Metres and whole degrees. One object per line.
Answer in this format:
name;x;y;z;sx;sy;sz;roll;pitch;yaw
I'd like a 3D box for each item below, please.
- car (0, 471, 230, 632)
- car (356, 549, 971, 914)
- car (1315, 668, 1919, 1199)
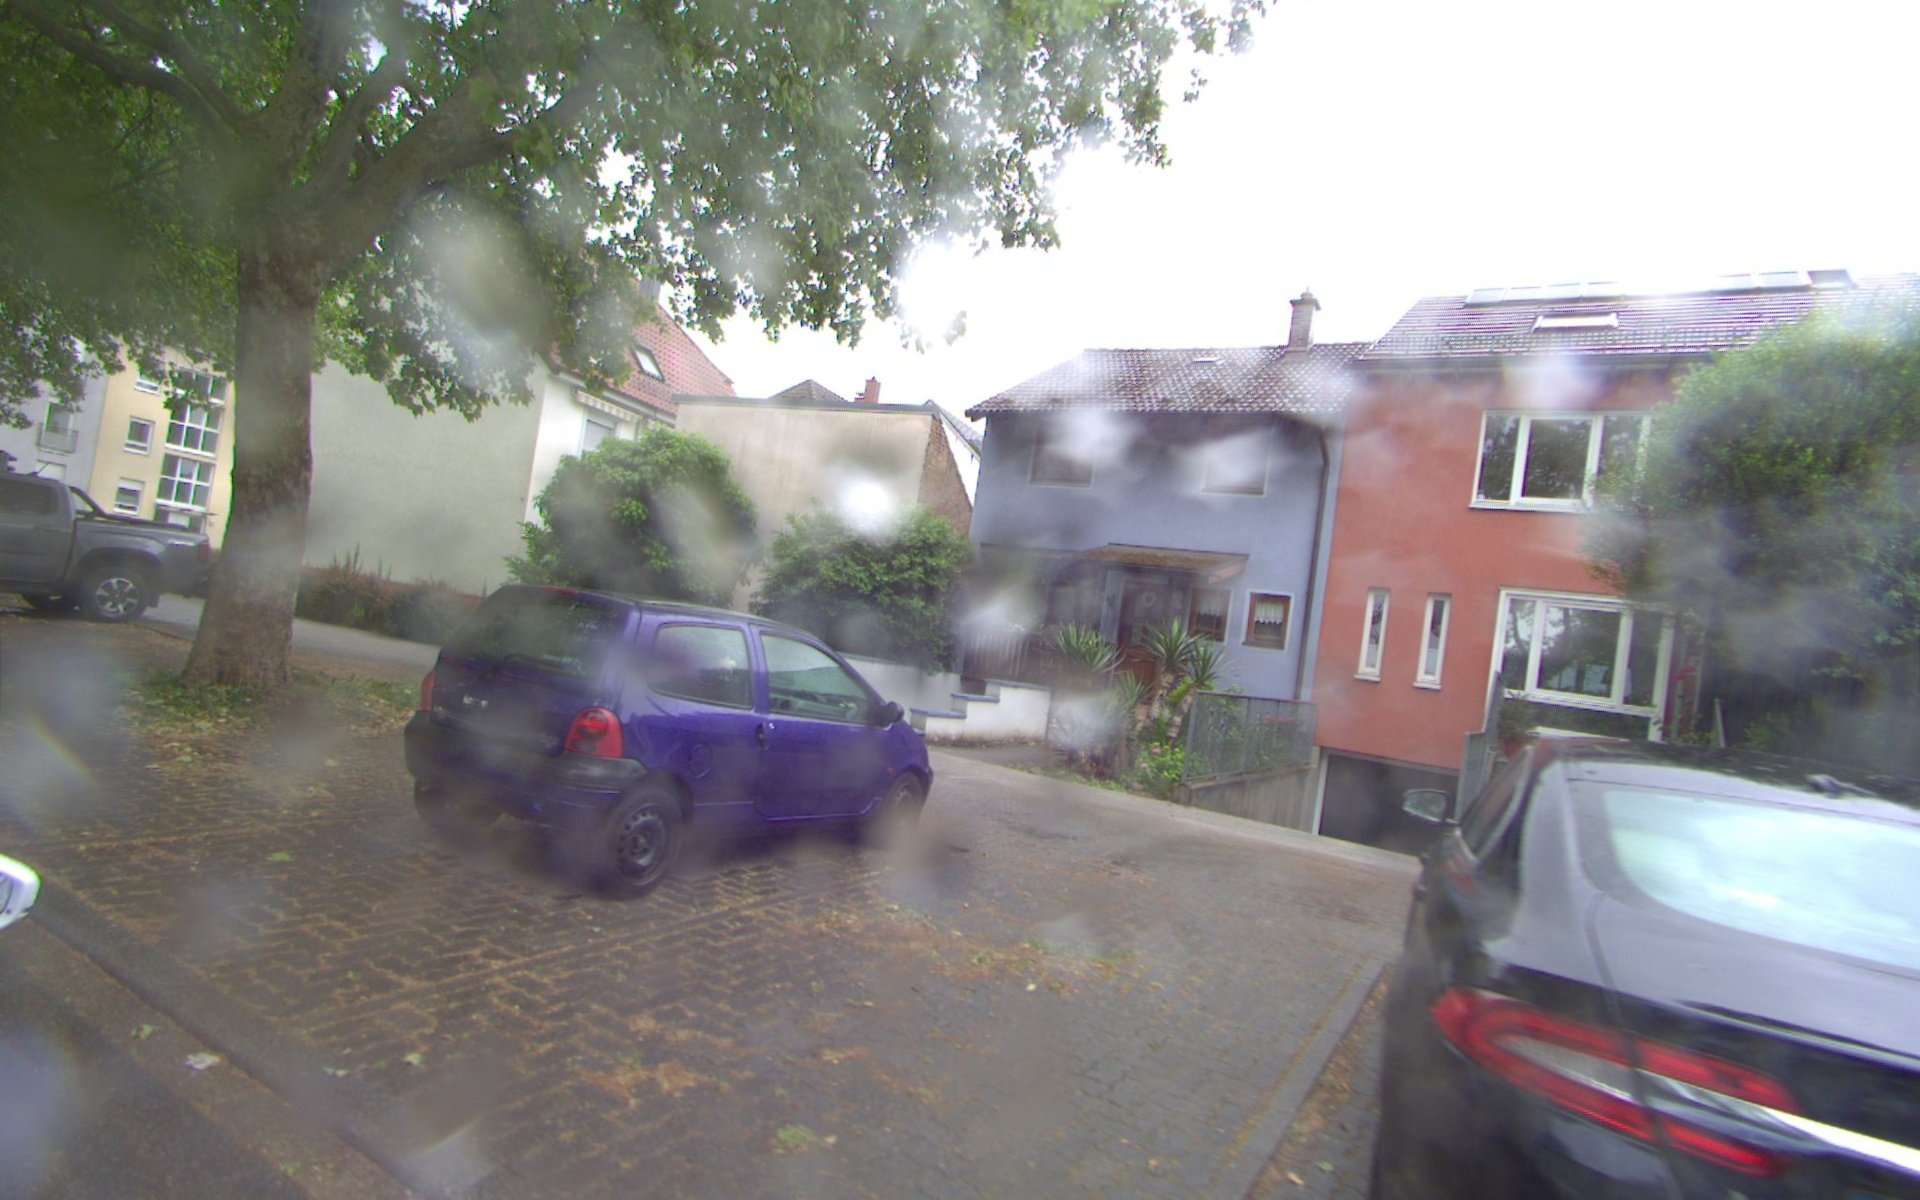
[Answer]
car;-12.797;-0.786;12.774;1.812;1.827;5.357;7;-2;25
car;-1.525;0.742;6.276;1.591;1.480;3.365;7;-3;30
car;2.515;1.191;3.313;1.904;1.489;4.780;7;-2;28
